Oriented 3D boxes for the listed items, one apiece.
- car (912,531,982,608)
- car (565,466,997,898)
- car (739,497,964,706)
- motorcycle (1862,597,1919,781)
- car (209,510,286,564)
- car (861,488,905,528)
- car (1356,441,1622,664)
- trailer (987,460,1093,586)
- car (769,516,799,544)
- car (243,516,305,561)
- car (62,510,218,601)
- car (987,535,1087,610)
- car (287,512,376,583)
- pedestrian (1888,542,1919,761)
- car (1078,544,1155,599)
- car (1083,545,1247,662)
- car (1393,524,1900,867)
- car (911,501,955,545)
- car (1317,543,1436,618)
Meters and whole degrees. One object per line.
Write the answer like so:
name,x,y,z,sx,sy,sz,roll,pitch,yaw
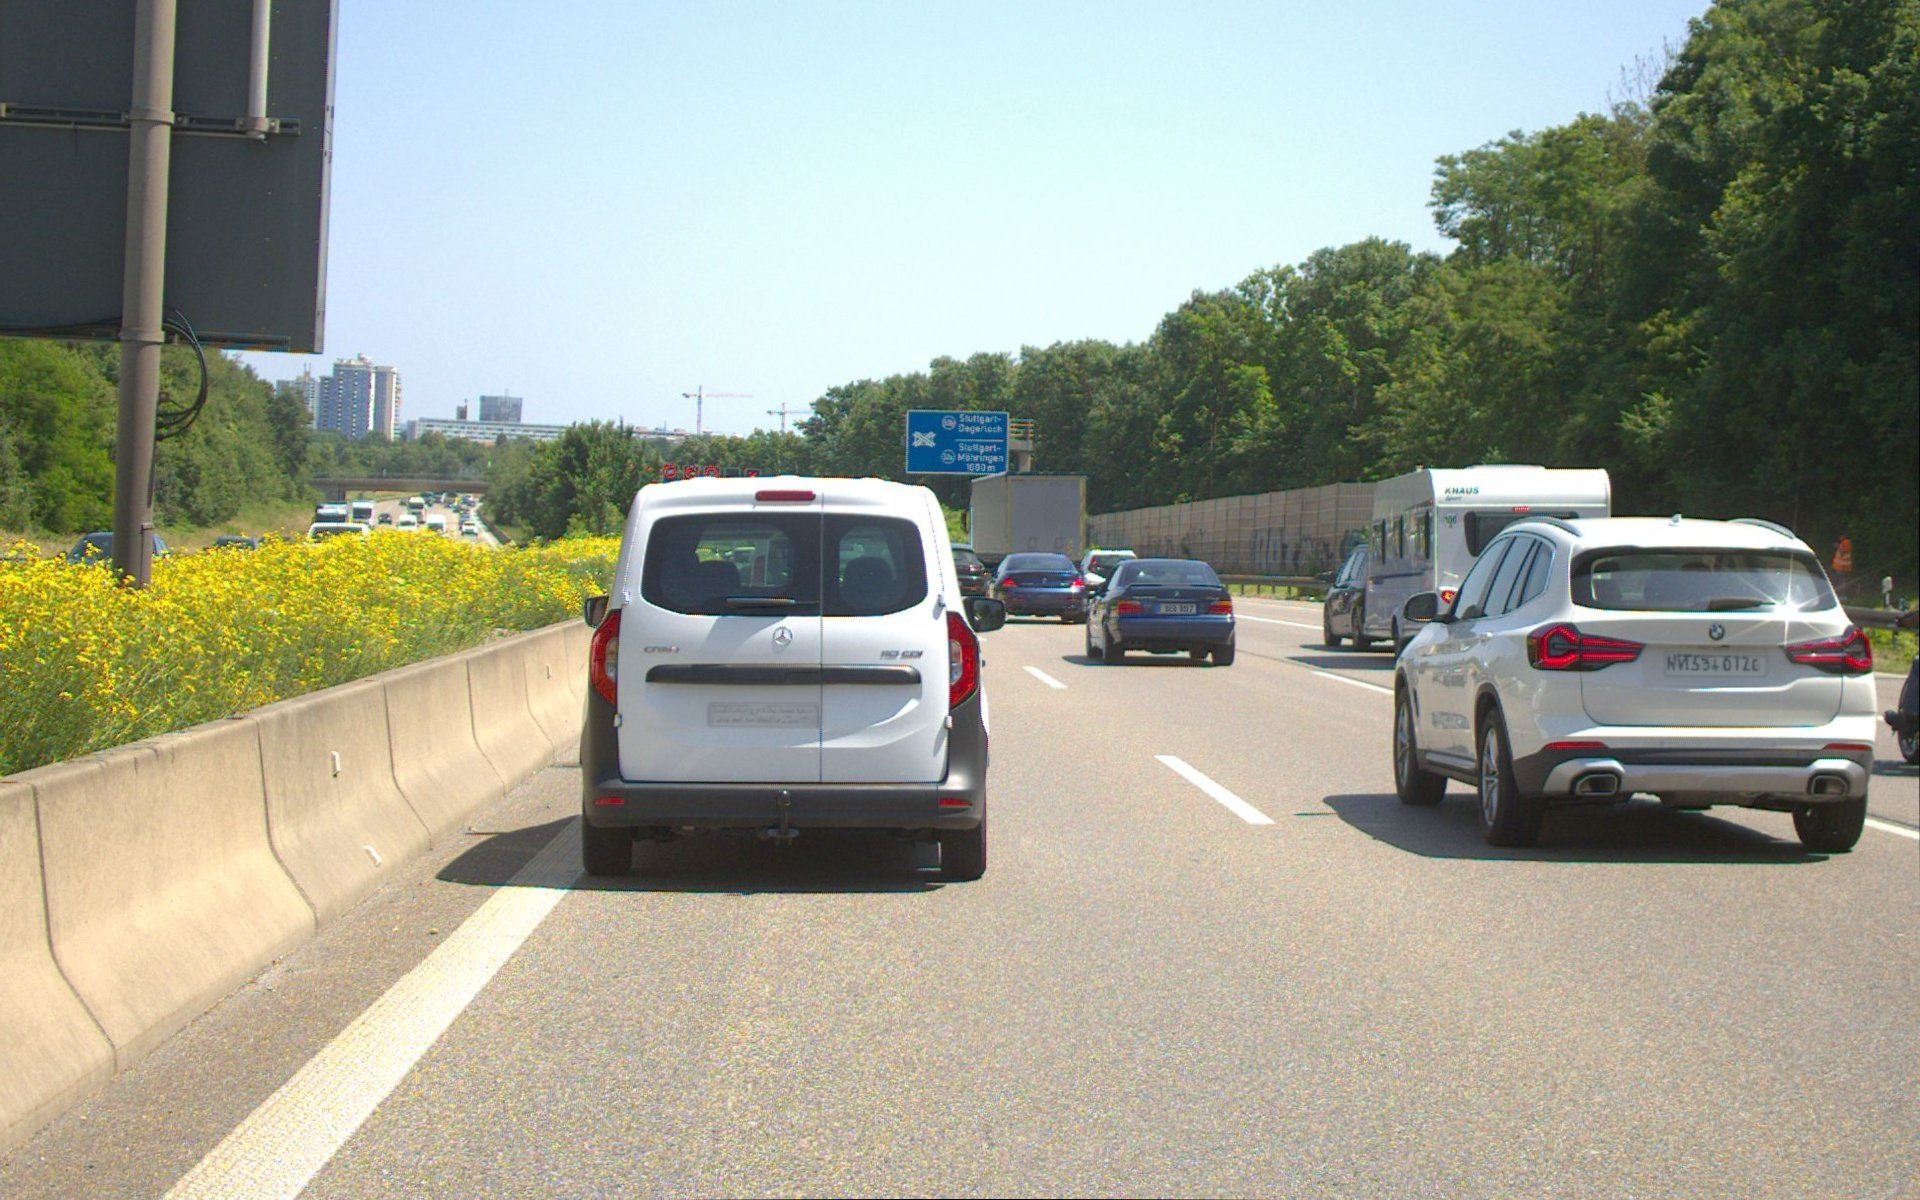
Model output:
car,-0.372,-0.841,92.684,1.824,1.982,4.000,1,1,-1
car,-0.811,0.312,16.579,1.802,1.802,4.000,1,1,-1
car,-1.008,-0.022,32.937,1.993,1.853,4.000,1,1,-1
motorcycle,6.912,0.611,23.755,0.859,1.177,2.276,1,2,4
car,-24.104,-2.126,116.425,1.993,1.749,4.001,1,1,-3
car,-3.991,-4.750,177.715,1.993,2.007,4.001,1,1,-4
car,7.003,-0.649,46.290,2.479,2.756,6.220,1,1,-1
trailer,2.607,-2.543,114.796,3.082,3.972,10.324,1,1,-1
car,-13.017,-5.166,254.241,1.993,2.007,4.000,1,1,-1
car,-27.537,-2.482,138.079,1.993,1.755,4.001,1,1,-5
car,-14.312,-0.790,60.201,1.843,1.514,3.869,1,1,-1
car,1.507,-0.566,68.695,1.824,1.419,4.000,1,1,-1
car,-18.365,-1.533,100.570,1.993,2.007,4.001,1,1,-3
pedestrian,6.893,0.356,23.603,0.851,1.473,0.638,1,2,4
car,4.204,-0.778,92.882,1.824,1.419,4.000,1,1,-1
car,2.630,0.014,44.850,1.824,1.419,4.000,1,1,-1
car,3.513,0.422,18.298,1.871,1.603,3.879,1,1,0
car,-1.282,-3.613,160.586,1.993,2.007,4.000,1,1,-1
car,8.315,-0.410,68.912,1.824,1.419,4.000,1,1,-1
